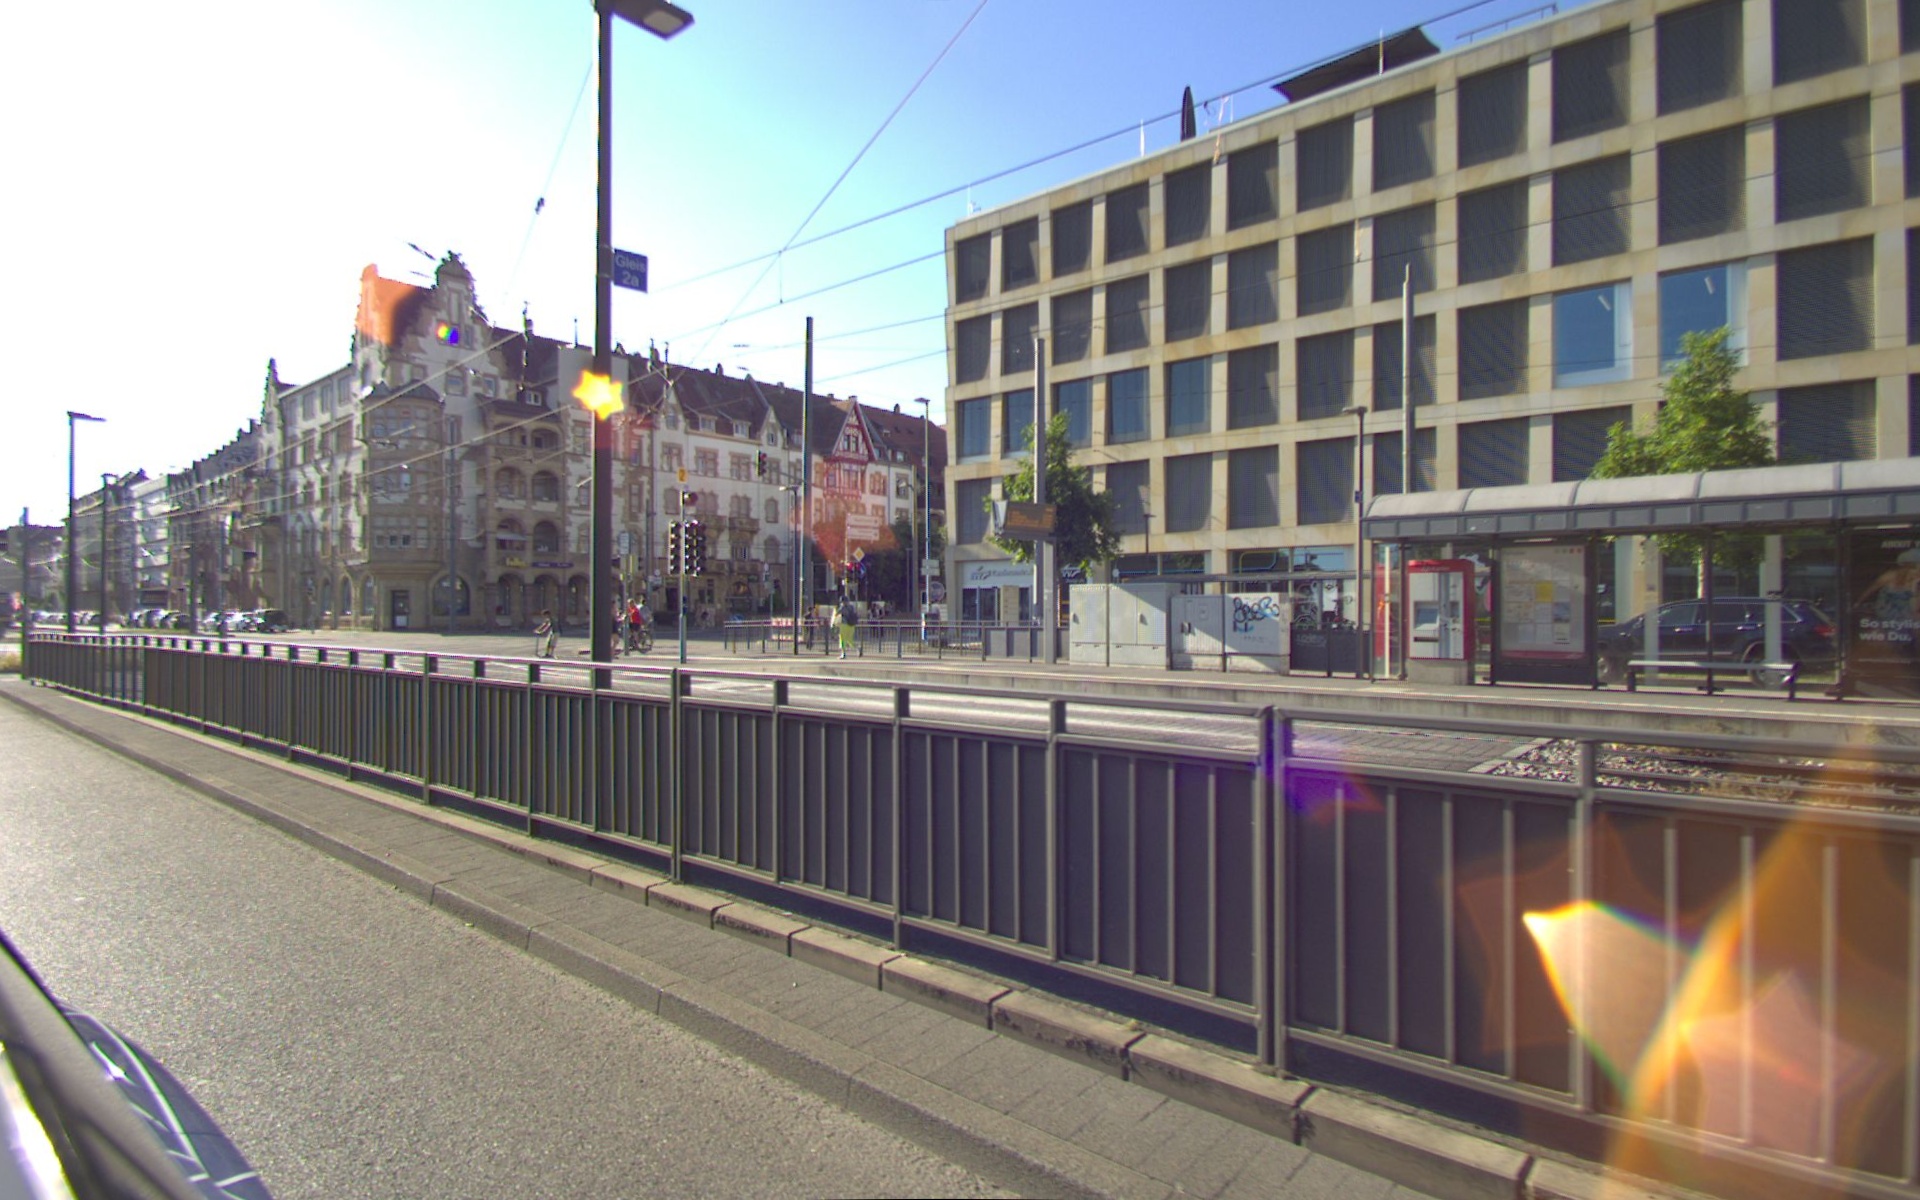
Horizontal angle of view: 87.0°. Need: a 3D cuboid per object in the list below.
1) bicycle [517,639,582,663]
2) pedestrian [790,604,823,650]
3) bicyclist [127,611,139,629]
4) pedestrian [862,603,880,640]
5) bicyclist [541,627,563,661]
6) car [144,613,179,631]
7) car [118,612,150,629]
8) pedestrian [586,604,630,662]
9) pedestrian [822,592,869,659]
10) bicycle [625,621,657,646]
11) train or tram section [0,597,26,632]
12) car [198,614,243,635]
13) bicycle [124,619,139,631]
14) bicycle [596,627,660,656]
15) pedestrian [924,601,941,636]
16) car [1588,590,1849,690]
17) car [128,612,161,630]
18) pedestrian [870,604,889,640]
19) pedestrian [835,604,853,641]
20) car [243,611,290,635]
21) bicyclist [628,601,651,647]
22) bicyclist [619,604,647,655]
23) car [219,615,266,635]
[{"bbox_3d":[-12.212,1.518,30.131,1.700,0.613,0.512,-1,0,-40],"label":"bicycle"},{"bbox_3d":[-5.615,0.973,37.008,0.792,1.657,0.924,-1,-1,28],"label":"pedestrian"},{"bbox_3d":[-73.262,1.762,89.624,0.630,1.631,0.675,-1,-1,39],"label":"bicyclist"},{"bbox_3d":[-4.146,0.998,47.231,0.582,1.695,0.609,-1,-1,39],"label":"pedestrian"},{"bbox_3d":[-12.156,1.302,30.158,0.456,1.001,0.512,1,-1,-39],"label":"bicyclist"},{"bbox_3d":[-71.314,1.954,90.408,3.998,1.536,1.719,-1,1,41],"label":"car"},{"bbox_3d":[-79.944,1.965,97.930,3.998,1.536,1.719,-1,1,41],"label":"car"},{"bbox_3d":[-10.264,0.939,29.549,0.792,1.657,0.924,-1,-1,28],"label":"pedestrian"},{"bbox_3d":[-2.892,0.642,25.567,0.933,1.657,0.785,-1,-1,42],"label":"pedestrian"},{"bbox_3d":[-12.611,1.318,40.047,0.508,0.918,1.886,0,-1,6],"label":"bicycle"},{"bbox_3d":[-101.657,1.664,106.622,19.463,3.424,2.746,-2,-1,41],"label":"train or tram section"},{"bbox_3d":[-58.130,1.934,79.528,3.992,1.536,1.721,-1,1,36],"label":"car"},{"bbox_3d":[-73.303,2.216,89.498,2.066,1.010,0.600,-1,-1,39],"label":"bicycle"},{"bbox_3d":[-10.623,1.327,32.412,1.861,0.885,0.608,0,-1,-41],"label":"bicycle"},{"bbox_3d":[-1.349,0.889,49.677,0.607,1.695,0.583,1,-1,-44],"label":"pedestrian"},{"bbox_3d":[14.959,0.747,20.072,3.999,1.783,1.897,-1,-1,42],"label":"car"},{"bbox_3d":[-76.047,1.961,94.342,3.998,1.536,1.719,-1,1,41],"label":"car"},{"bbox_3d":[-3.792,1.020,47.861,0.639,1.695,0.609,-1,-1,38],"label":"pedestrian"},{"bbox_3d":[-5.389,1.028,47.092,0.582,1.695,0.609,-1,-1,39],"label":"pedestrian"},{"bbox_3d":[-49.667,1.617,72.434,3.996,1.682,1.758,-1,-1,40],"label":"car"},{"bbox_3d":[-12.624,0.940,39.900,0.639,1.821,0.667,0,-1,6],"label":"bicyclist"},{"bbox_3d":[-10.483,0.935,32.458,0.620,1.631,0.685,1,-1,-41],"label":"bicyclist"},{"bbox_3d":[-53.968,1.874,76.091,4.427,1.487,1.706,-1,-1,39],"label":"car"}]
